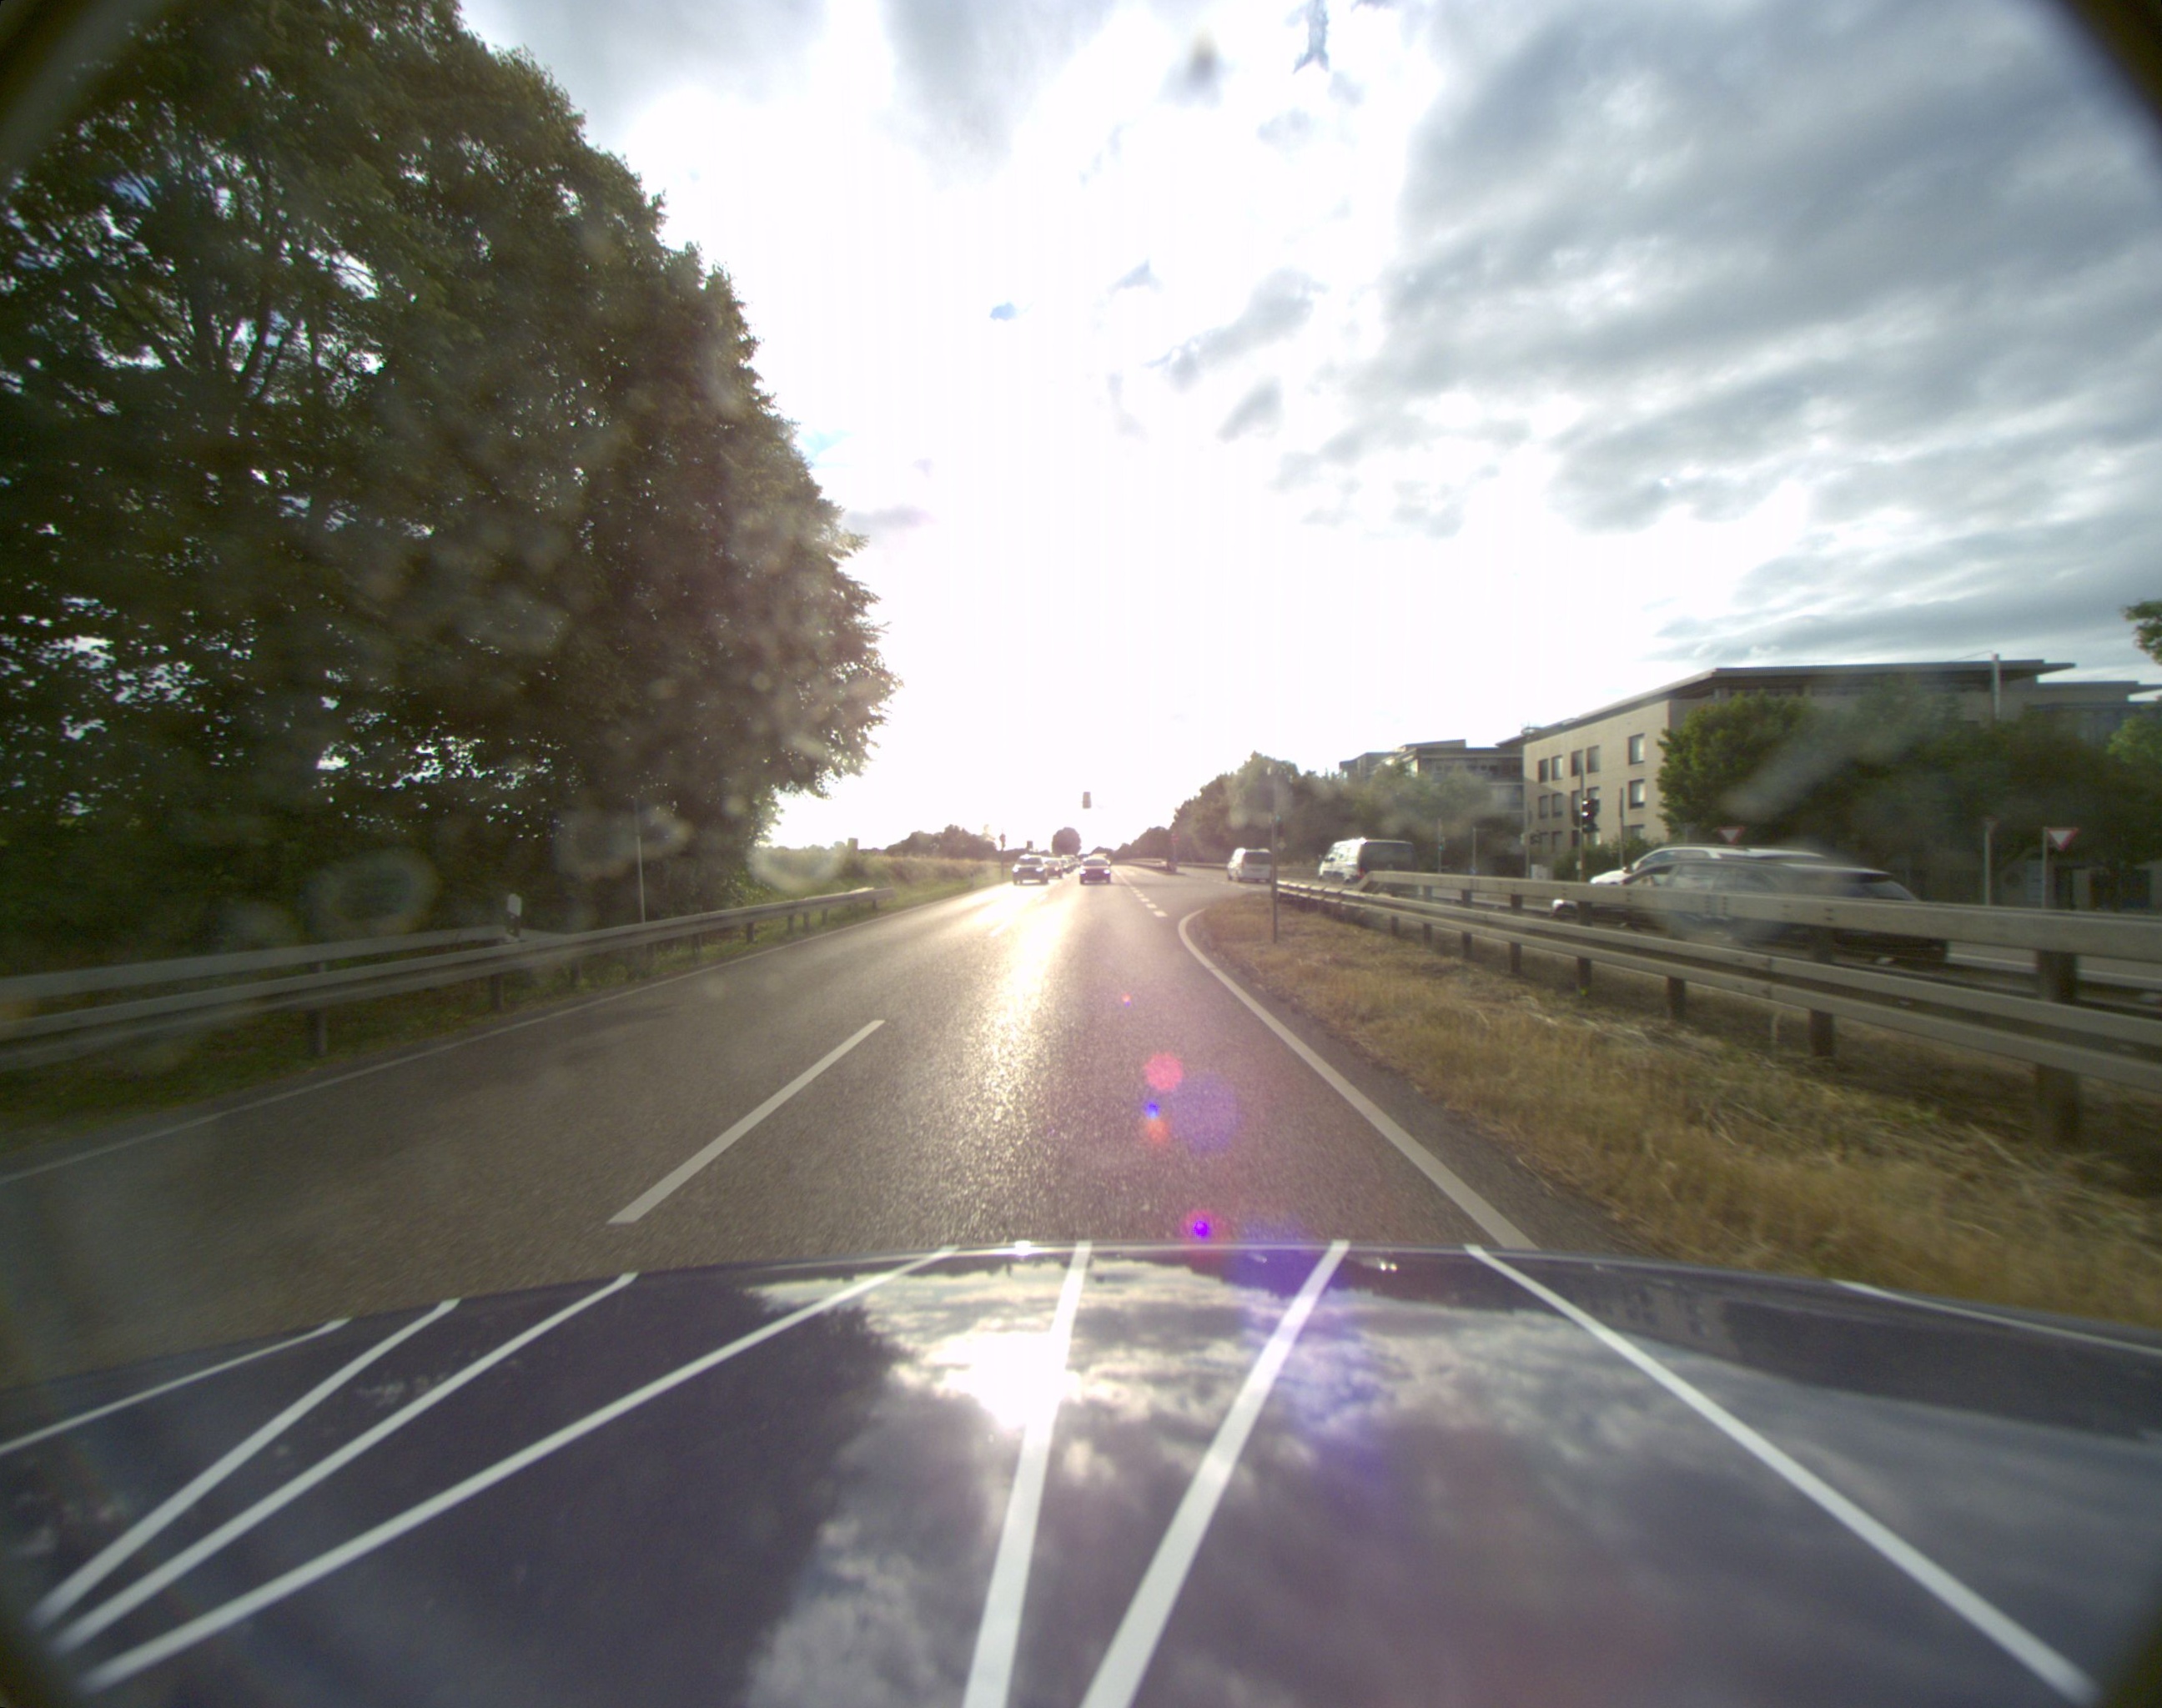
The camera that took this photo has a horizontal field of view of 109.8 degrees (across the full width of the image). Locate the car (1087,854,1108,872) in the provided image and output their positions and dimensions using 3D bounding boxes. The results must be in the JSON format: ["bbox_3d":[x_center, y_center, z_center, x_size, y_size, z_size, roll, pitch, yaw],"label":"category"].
[{"bbox_3d":[1.431,0.759,65.621,1.758,1.543,4.000,0,0,1],"label":"car"}]

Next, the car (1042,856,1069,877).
[{"bbox_3d":[-1.876,0.907,56.571,1.668,1.467,3.866,-2,0,3],"label":"car"}]

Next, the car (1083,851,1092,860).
[{"bbox_3d":[1.546,0.284,173.409,1.998,2.002,4.000,-2,1,0],"label":"car"}]

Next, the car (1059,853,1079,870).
[{"bbox_3d":[-1.114,0.680,71.052,1.723,1.467,3.866,-2,0,1],"label":"car"}]

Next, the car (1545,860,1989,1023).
[{"bbox_3d":[8.294,0.901,9.933,1.717,1.580,4.554,0,0,0],"label":"car"}]

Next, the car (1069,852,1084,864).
[{"bbox_3d":[-0.706,0.564,115.901,1.998,1.740,4.000,3,1,1],"label":"car"}]

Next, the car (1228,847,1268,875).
[{"bbox_3d":[12.464,0.487,57.007,1.939,1.978,5.091,1,0,1],"label":"car"}]

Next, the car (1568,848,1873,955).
[{"bbox_3d":[12.215,0.784,15.095,2.039,1.739,4.845,2,0,2],"label":"car"}]

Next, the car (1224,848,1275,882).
[{"bbox_3d":[9.845,0.598,44.815,1.939,1.861,5.347,0,0,1],"label":"car"}]

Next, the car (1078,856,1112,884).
[{"bbox_3d":[0.804,0.837,41.063,1.723,1.467,3.729,-1,0,3],"label":"car"}]

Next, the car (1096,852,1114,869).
[{"bbox_3d":[2.412,0.625,75.746,1.786,1.624,3.866,-1,0,3],"label":"car"}]

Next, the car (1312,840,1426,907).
[{"bbox_3d":[9.042,0.549,24.396,1.903,1.906,5.051,1,1,2],"label":"car"}]

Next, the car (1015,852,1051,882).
[{"bbox_3d":[-2.861,0.783,45.861,1.723,1.658,4.419,-2,0,1],"label":"car"}]
